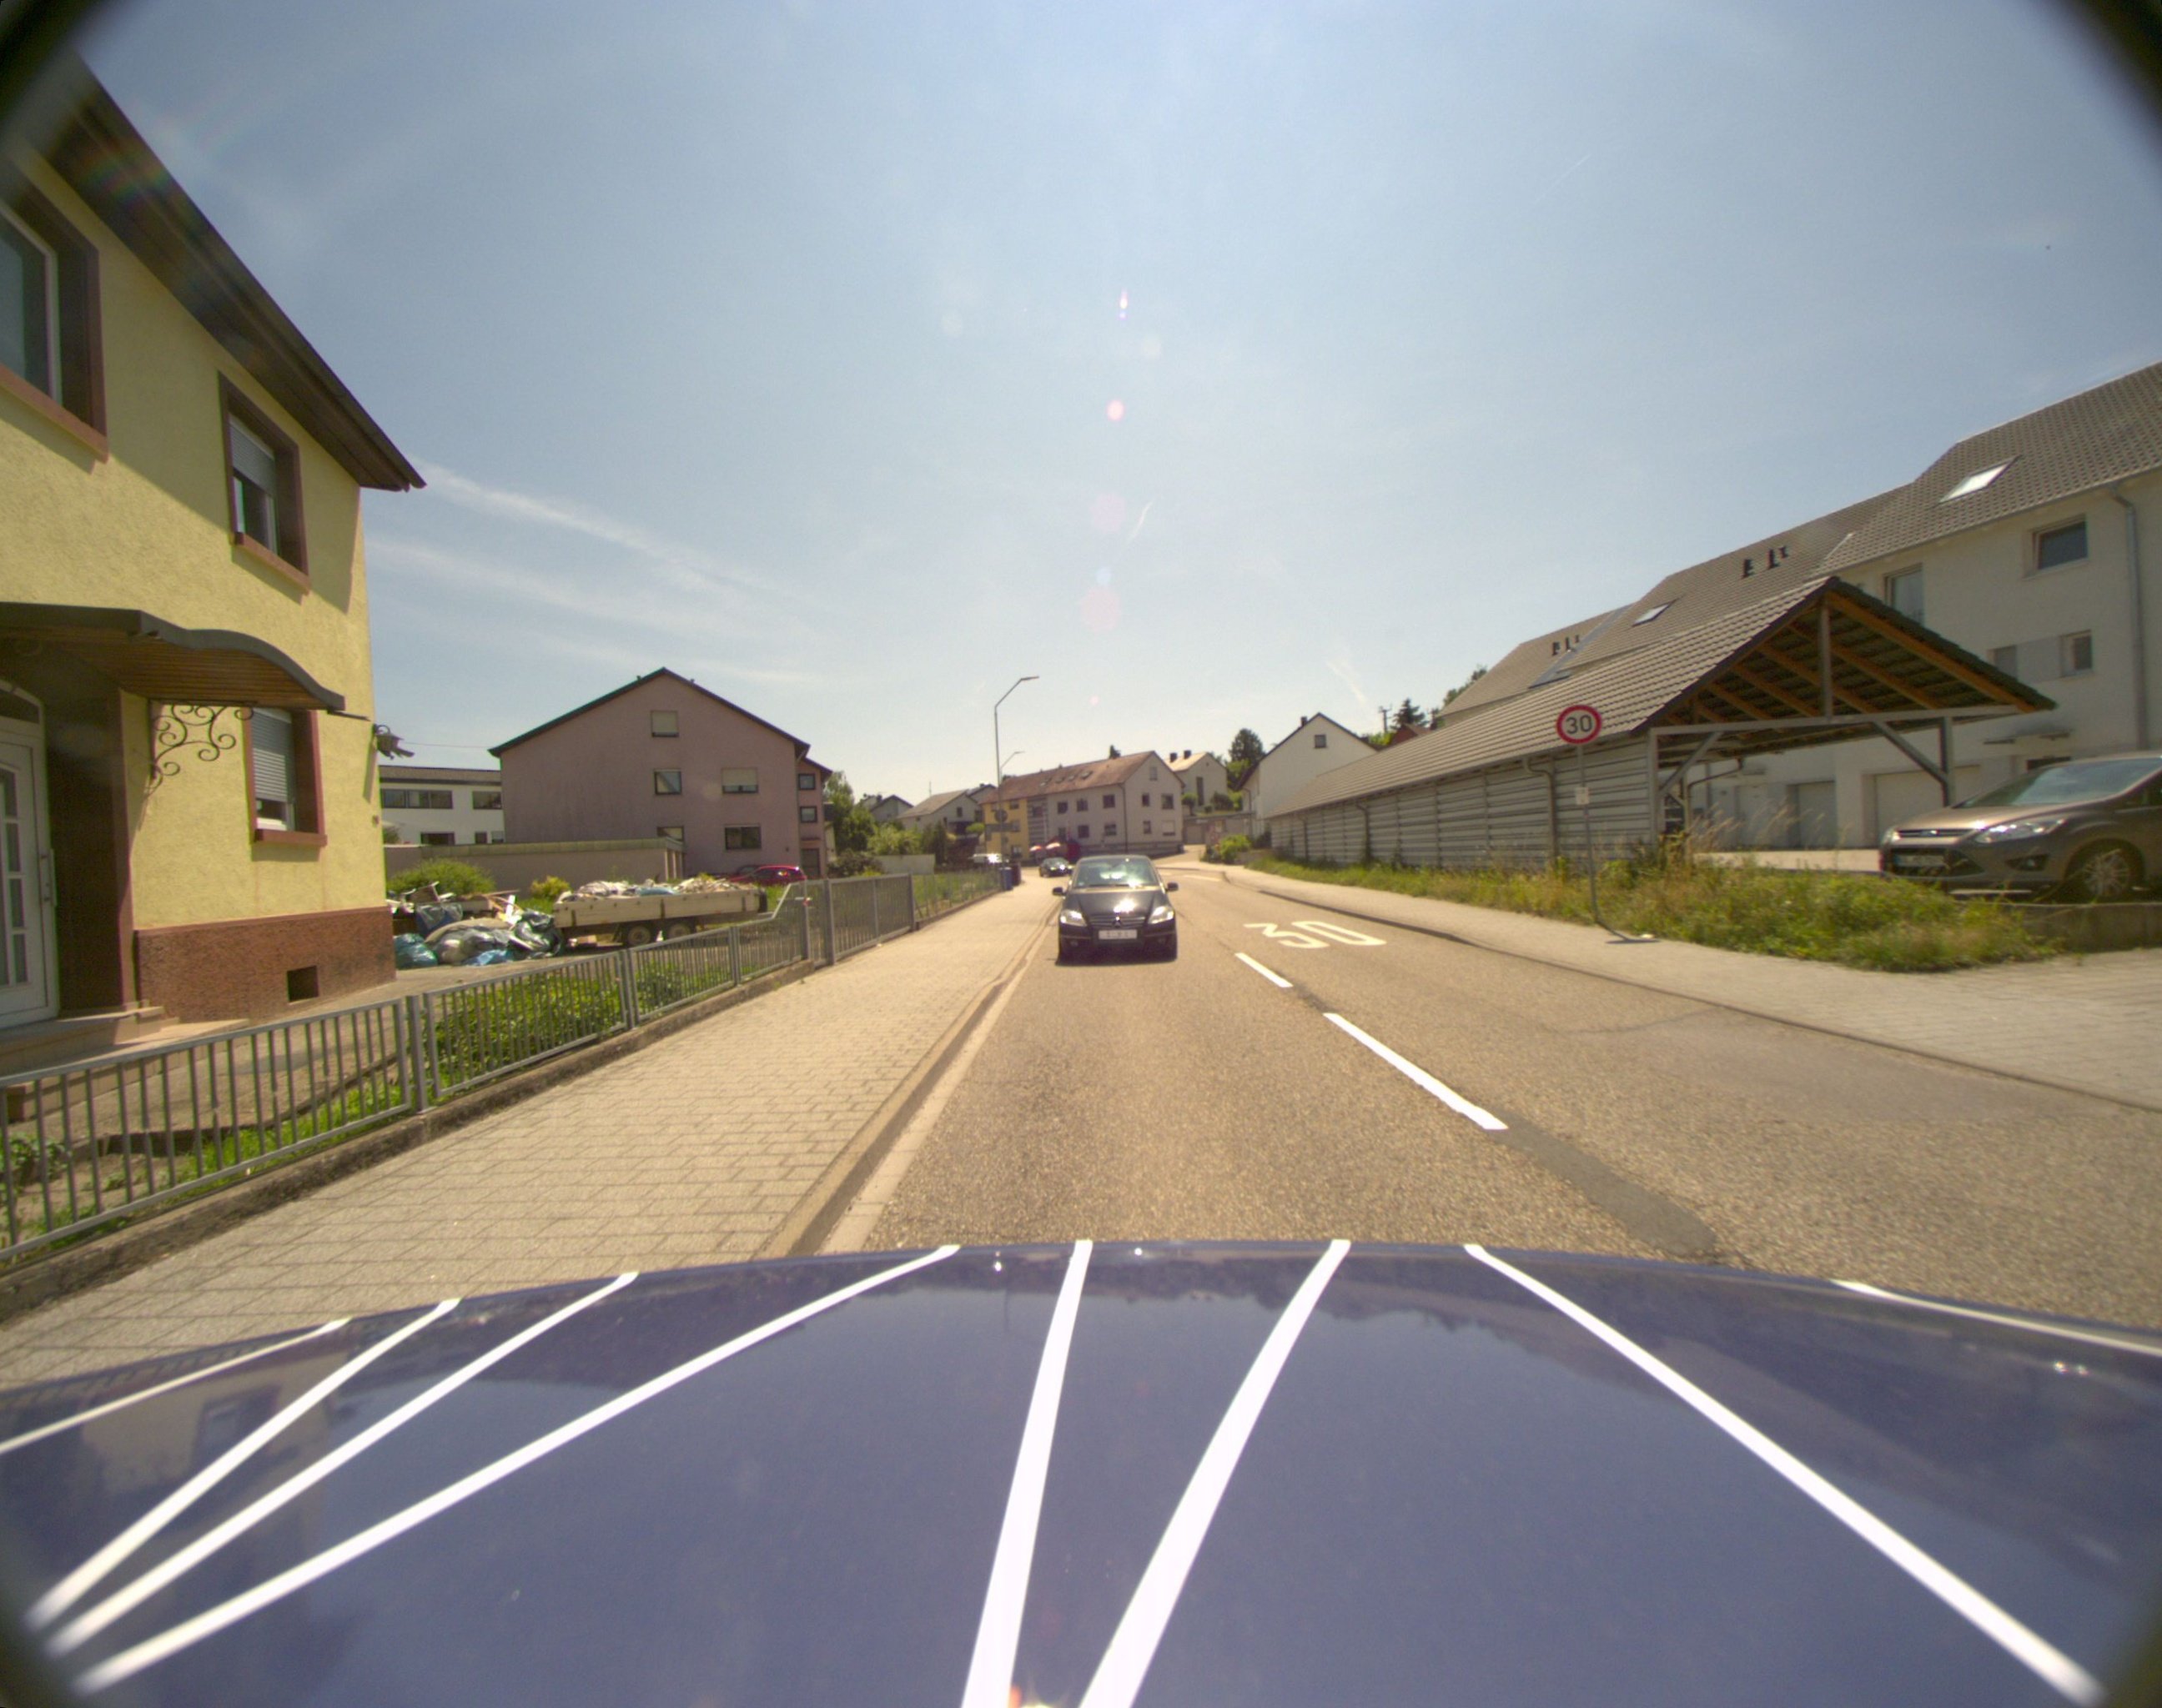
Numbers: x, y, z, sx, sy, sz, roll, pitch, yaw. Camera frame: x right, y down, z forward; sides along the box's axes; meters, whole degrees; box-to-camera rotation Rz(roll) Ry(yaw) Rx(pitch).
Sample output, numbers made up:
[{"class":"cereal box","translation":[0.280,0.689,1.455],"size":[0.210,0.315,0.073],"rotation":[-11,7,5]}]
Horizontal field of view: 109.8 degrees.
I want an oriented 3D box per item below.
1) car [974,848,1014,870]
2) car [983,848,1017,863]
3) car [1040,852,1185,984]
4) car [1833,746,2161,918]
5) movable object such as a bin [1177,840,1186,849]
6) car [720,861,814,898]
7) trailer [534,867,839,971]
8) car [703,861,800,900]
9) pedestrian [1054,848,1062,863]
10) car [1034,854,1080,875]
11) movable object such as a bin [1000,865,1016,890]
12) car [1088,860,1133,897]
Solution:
[{"class":"car","translation":[-8.420,0.531,72.802],"size":[1.871,1.897,5.026],"rotation":[-4,1,-30]},{"class":"car","translation":[-9.446,0.216,88.152],"size":[1.739,1.543,4.177],"rotation":[-5,2,-42]},{"class":"car","translation":[0.525,0.830,11.912],"size":[1.764,1.583,4.199],"rotation":[-4,0,3]},{"class":"car","translation":[11.327,-0.284,8.350],"size":[4.134,1.628,1.865],"rotation":[-3,1,3]},{"class":"movable object such as a bin","translation":[10.222,-0.968,77.509],"size":[0.601,0.929,0.599],"rotation":[-4,2,-44]},{"class":"car","translation":[-14.387,1.136,34.961],"size":[3.841,1.477,1.758],"rotation":[-2,0,-22]},{"class":"trailer","translation":[-8.191,1.242,16.284],"size":[5.370,1.537,2.134],"rotation":[-4,1,-27]},{"class":"car","translation":[-16.023,1.228,36.995],"size":[4.130,1.539,1.847],"rotation":[-4,1,-26]},{"class":"pedestrian","translation":[-2.458,0.168,80.116],"size":[0.613,1.578,0.808],"rotation":[-4,1,-10]},{"class":"car","translation":[-1.840,0.823,56.787],"size":[1.900,1.368,3.992],"rotation":[-4,0,-26]},{"class":"movable object such as a bin","translation":[-3.337,1.067,34.687],"size":[0.567,1.051,0.650],"rotation":[-3,1,-14]},{"class":"car","translation":[1.289,1.016,33.292],"size":[1.813,1.307,4.000],"rotation":[-4,1,2]}]
